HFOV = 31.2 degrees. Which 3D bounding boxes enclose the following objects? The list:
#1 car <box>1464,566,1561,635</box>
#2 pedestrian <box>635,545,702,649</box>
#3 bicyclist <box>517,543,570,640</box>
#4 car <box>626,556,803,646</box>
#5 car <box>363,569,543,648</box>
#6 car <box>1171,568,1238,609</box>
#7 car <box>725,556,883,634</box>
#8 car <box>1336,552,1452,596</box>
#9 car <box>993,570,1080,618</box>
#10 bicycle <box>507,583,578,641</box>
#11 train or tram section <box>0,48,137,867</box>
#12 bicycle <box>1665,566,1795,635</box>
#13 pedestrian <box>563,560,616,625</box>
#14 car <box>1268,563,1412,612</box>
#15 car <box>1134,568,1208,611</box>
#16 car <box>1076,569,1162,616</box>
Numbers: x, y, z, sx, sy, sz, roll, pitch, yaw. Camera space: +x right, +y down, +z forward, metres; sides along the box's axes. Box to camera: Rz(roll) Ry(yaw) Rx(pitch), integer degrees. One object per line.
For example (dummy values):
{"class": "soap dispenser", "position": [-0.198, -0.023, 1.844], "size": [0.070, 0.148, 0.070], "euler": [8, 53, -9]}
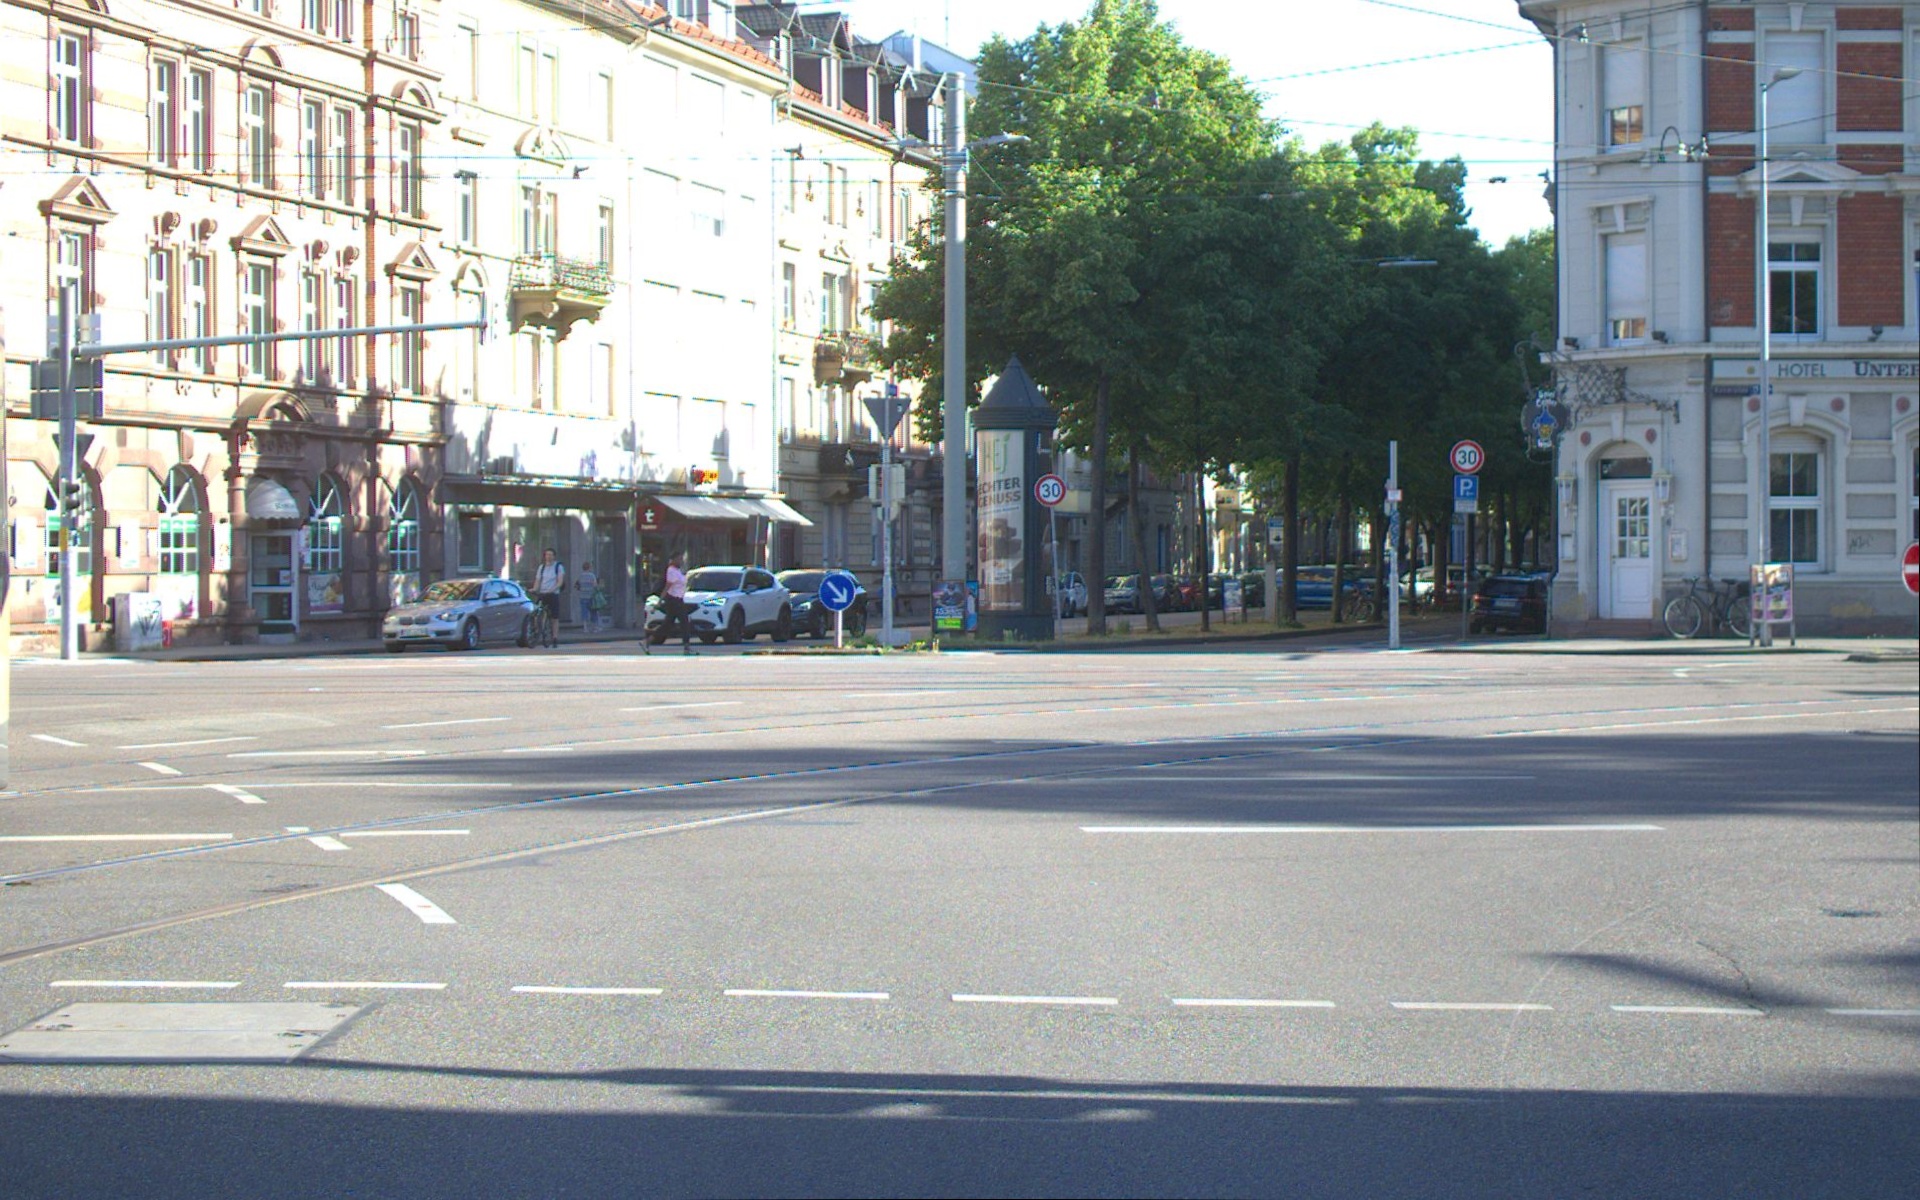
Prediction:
{"class": "car", "position": [13.271, -0.010, 82.456], "size": [1.995, 1.579, 3.998], "euler": [0, 1, 14]}
{"class": "pedestrian", "position": [-4.911, -0.061, 57.821], "size": [1.046, 1.738, 0.809], "euler": [0, 1, -10]}
{"class": "bicyclist", "position": [-7.875, -0.161, 65.061], "size": [0.679, 1.814, 1.070], "euler": [0, 1, 12]}
{"class": "car", "position": [-4.761, -0.015, 67.340], "size": [1.995, 1.678, 4.387], "euler": [0, 1, 17]}
{"class": "car", "position": [-9.849, 0.151, 67.064], "size": [1.900, 1.450, 3.997], "euler": [0, 1, 17]}
{"class": "car", "position": [9.700, -0.465, 136.346], "size": [1.766, 1.544, 4.387], "euler": [0, 1, 16]}
{"class": "car", "position": [-3.315, -0.133, 73.853], "size": [1.995, 1.606, 4.387], "euler": [0, 1, 17]}
{"class": "car", "position": [16.862, -1.012, 133.639], "size": [3.993, 1.700, 1.997], "euler": [0, 1, 30]}
{"class": "car", "position": [2.488, -0.220, 110.978], "size": [1.995, 1.481, 3.998], "euler": [0, 1, 14]}
{"class": "bicycle", "position": [-7.886, 0.219, 65.026], "size": [0.680, 1.062, 2.124], "euler": [0, 1, 12]}
{"class": "train or tram section", "position": [-6.692, -0.660, 17.784], "size": [2.814, 3.488, 7.963], "euler": [-1, 1, -28]}
{"class": "bicycle", "position": [12.860, 0.010, 57.405], "size": [2.085, 1.120, 0.367], "euler": [1, 0, -4]}
{"class": "pedestrian", "position": [-8.828, -0.192, 81.909], "size": [0.929, 1.530, 1.136], "euler": [0, 1, 14]}
{"class": "car", "position": [12.758, -0.438, 115.450], "size": [4.382, 1.606, 1.997], "euler": [0, 1, 27]}
{"class": "car", "position": [8.034, -0.416, 130.469], "size": [1.839, 1.547, 4.387], "euler": [0, 1, 17]}
{"class": "car", "position": [5.708, -0.296, 122.679], "size": [1.995, 1.607, 4.387], "euler": [0, 1, 17]}
